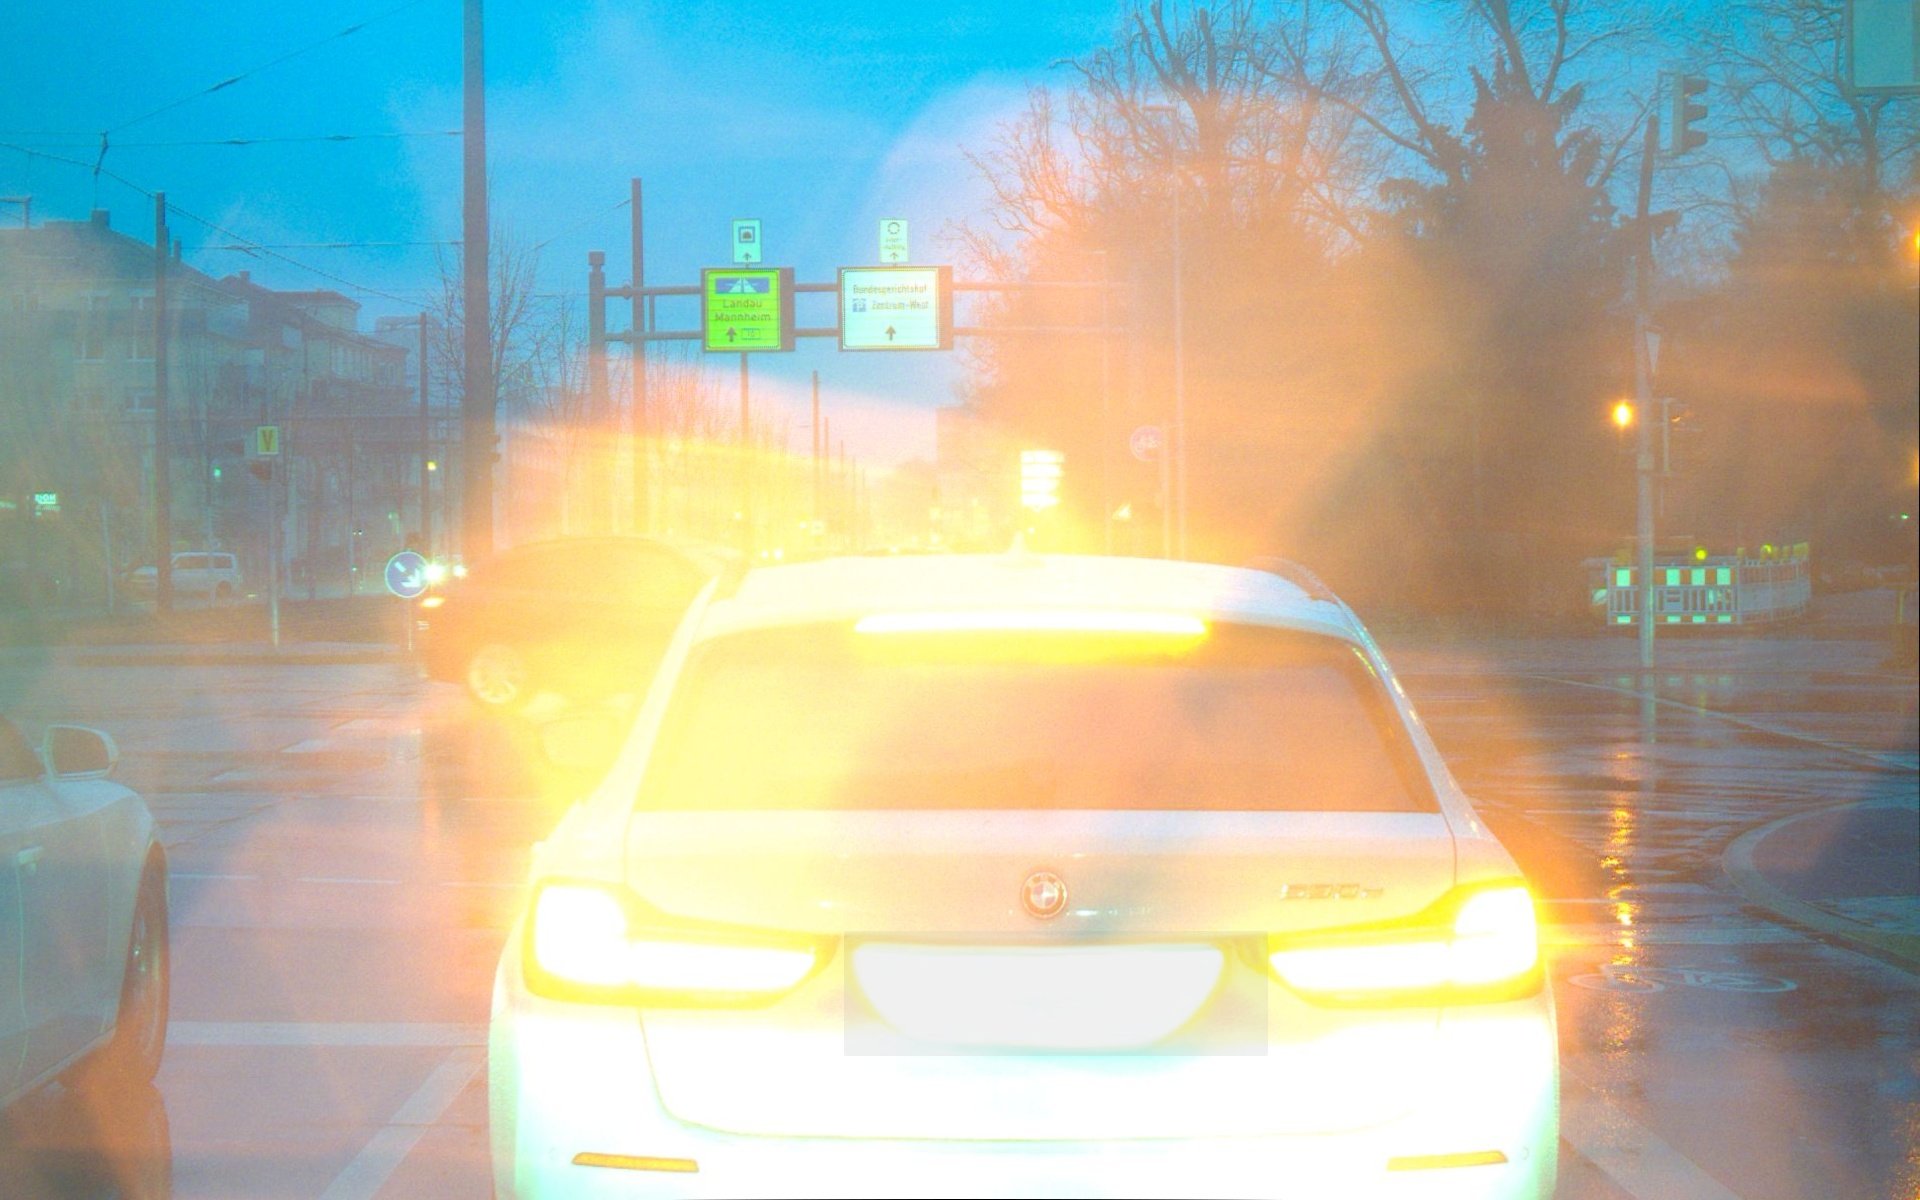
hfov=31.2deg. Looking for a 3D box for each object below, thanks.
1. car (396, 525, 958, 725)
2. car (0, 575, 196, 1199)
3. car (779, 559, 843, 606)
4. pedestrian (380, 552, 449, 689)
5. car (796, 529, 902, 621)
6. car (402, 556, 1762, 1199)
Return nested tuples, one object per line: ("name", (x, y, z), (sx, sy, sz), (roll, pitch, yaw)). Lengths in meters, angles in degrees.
("car", (-2.557, 0.204, 31.094), (4.700, 1.714, 1.899), (0, 0, 20))
("car", (-3.101, 0.699, 7.672), (1.993, 1.451, 4.369), (0, 1, -3))
("car", (-4.782, -0.576, 110.308), (1.993, 1.451, 4.369), (0, 1, -3))
("pedestrian", (-7.493, 0.282, 47.277), (0.902, 1.850, 0.812), (1, 0, -9))
("car", (-2.020, -0.444, 62.675), (1.843, 1.603, 3.945), (1, 0, -2))
("car", (0.090, 0.652, 7.218), (1.993, 1.451, 4.369), (0, 1, -3))
